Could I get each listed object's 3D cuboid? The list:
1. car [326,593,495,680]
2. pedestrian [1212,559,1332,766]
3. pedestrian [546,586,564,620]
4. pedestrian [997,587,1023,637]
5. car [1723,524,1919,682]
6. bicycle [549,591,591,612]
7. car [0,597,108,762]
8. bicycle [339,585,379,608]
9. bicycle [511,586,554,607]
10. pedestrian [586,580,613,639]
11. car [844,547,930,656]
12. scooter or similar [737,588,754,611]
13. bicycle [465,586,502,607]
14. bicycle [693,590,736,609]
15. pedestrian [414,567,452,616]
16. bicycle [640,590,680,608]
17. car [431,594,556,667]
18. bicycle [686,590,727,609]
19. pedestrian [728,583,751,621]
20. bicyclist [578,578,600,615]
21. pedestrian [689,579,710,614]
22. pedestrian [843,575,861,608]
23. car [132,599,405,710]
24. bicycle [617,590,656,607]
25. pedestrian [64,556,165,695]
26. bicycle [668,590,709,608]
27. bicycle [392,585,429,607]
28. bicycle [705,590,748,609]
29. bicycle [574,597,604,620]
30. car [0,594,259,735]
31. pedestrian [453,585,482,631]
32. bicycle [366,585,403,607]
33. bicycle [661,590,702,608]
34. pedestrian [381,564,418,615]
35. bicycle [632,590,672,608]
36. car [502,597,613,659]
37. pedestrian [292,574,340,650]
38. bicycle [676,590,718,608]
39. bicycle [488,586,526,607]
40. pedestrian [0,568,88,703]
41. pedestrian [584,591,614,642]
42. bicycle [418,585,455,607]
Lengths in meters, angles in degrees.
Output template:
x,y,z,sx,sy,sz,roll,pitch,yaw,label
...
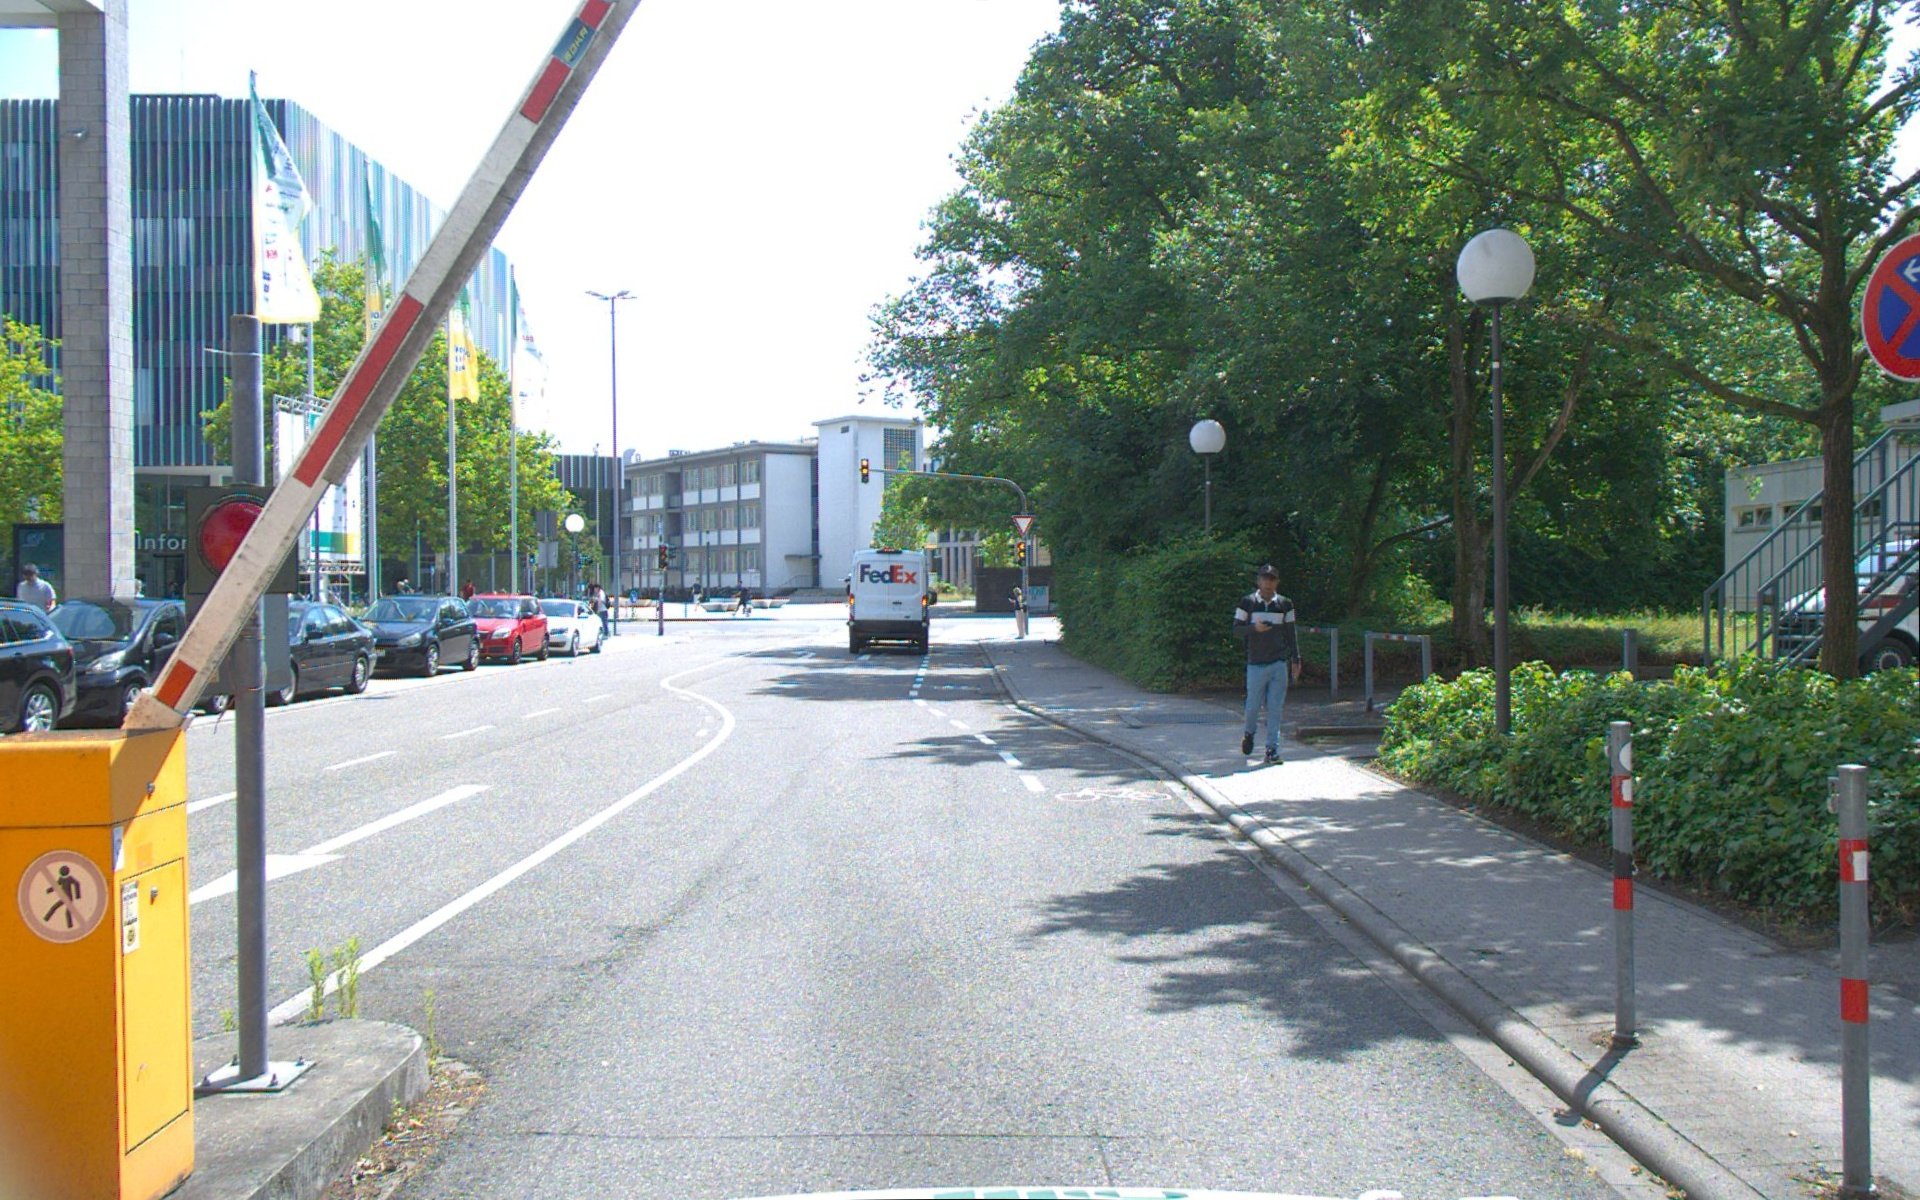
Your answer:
x,y,z,sx,sy,sz,roll,pitch,yaw,label
-10.406,0.648,31.648,1.712,1.493,4.197,2,0,1,car
2.674,0.508,14.284,0.724,1.704,1.255,0,0,-4,pedestrian
-20.292,0.151,82.903,0.738,1.708,0.755,-1,0,-4,pedestrian
1.625,0.382,53.746,0.717,1.603,0.775,1,0,-5,pedestrian
13.255,0.019,22.588,4.726,2.049,2.062,-1,0,0,car
-24.285,0.077,102.954,2.901,1.259,1.192,0,0,44,bicycle
-9.822,0.737,14.923,1.821,1.493,4.718,2,0,-1,car
-34.133,-0.211,93.848,1.363,1.259,2.913,1,0,-37,bicycle
-26.128,-0.196,101.028,2.901,1.259,1.192,0,0,44,bicycle
-11.705,0.315,53.743,0.704,1.892,0.770,0,0,1,pedestrian
-1.830,0.000,42.837,2.052,2.611,5.601,-1,1,-1,car
-11.372,-0.042,87.626,0.704,1.199,2.718,0,0,-11,scooter or similar
-28.512,-0.209,98.948,1.188,1.259,2.913,1,0,-37,bicycle
-18.142,-0.018,122.391,2.935,1.387,1.258,0,0,-38,bicycle
-19.859,-0.318,62.350,0.844,1.850,1.096,0,0,23,pedestrian
-23.492,-0.070,129.535,2.935,1.387,1.102,0,0,-38,bicycle
-10.383,0.642,37.053,1.642,1.493,3.911,2,0,0,car
-18.911,-0.057,123.397,2.935,1.387,1.102,0,0,-38,bicycle
-11.319,0.104,84.909,1.059,1.903,0.832,-1,0,-2,pedestrian
-19.094,-0.190,85.039,0.772,1.849,1.000,0,0,10,bicyclist
-14.491,-0.207,92.049,0.687,1.887,1.400,0,2,9,pedestrian
-6.256,-0.514,95.986,0.852,1.922,0.908,0,0,-20,pedestrian
-10.088,0.726,24.616,1.821,1.402,5.017,2,0,1,car
-26.217,-0.111,134.007,2.935,1.387,1.102,0,0,-38,bicycle
-12.762,0.371,25.005,0.965,2.049,1.164,0,0,-5,pedestrian
-20.585,-0.076,125.597,2.935,1.387,1.102,0,0,-38,bicycle
-31.831,-0.231,95.745,1.188,1.259,2.913,1,0,-36,bicycle
-17.104,-0.008,121.140,2.935,1.387,1.102,0,0,-38,bicycle
-19.090,0.451,85.131,0.754,1.142,2.028,0,0,9,bicycle
-10.084,0.700,20.028,1.605,1.493,3.706,2,0,-1,car
-17.431,0.286,58.577,0.754,1.625,0.799,-1,0,1,pedestrian
-32.976,-0.220,94.670,1.188,1.259,2.913,1,0,-37,bicycle
-21.349,-0.054,126.641,2.935,1.387,1.102,0,0,-38,bicycle
-21.167,-0.404,62.464,0.835,1.909,1.006,0,0,22,pedestrian
-24.387,-0.079,131.008,2.935,1.387,1.102,0,0,-38,bicycle
-10.200,0.665,42.236,1.642,1.419,4.662,2,0,0,car
-16.288,0.304,41.835,0.704,1.883,1.089,1,0,3,pedestrian
-19.800,-0.071,124.550,2.935,1.387,1.102,0,0,-38,bicycle
-27.509,-0.202,100.410,1.188,1.259,2.912,1,0,-37,bicycle
-14.364,0.535,25.790,0.965,2.049,1.164,0,0,-5,pedestrian
-12.014,0.547,55.032,0.826,1.680,0.746,0,0,1,pedestrian
-30.558,-0.249,96.558,1.188,1.259,2.912,1,0,-37,bicycle
